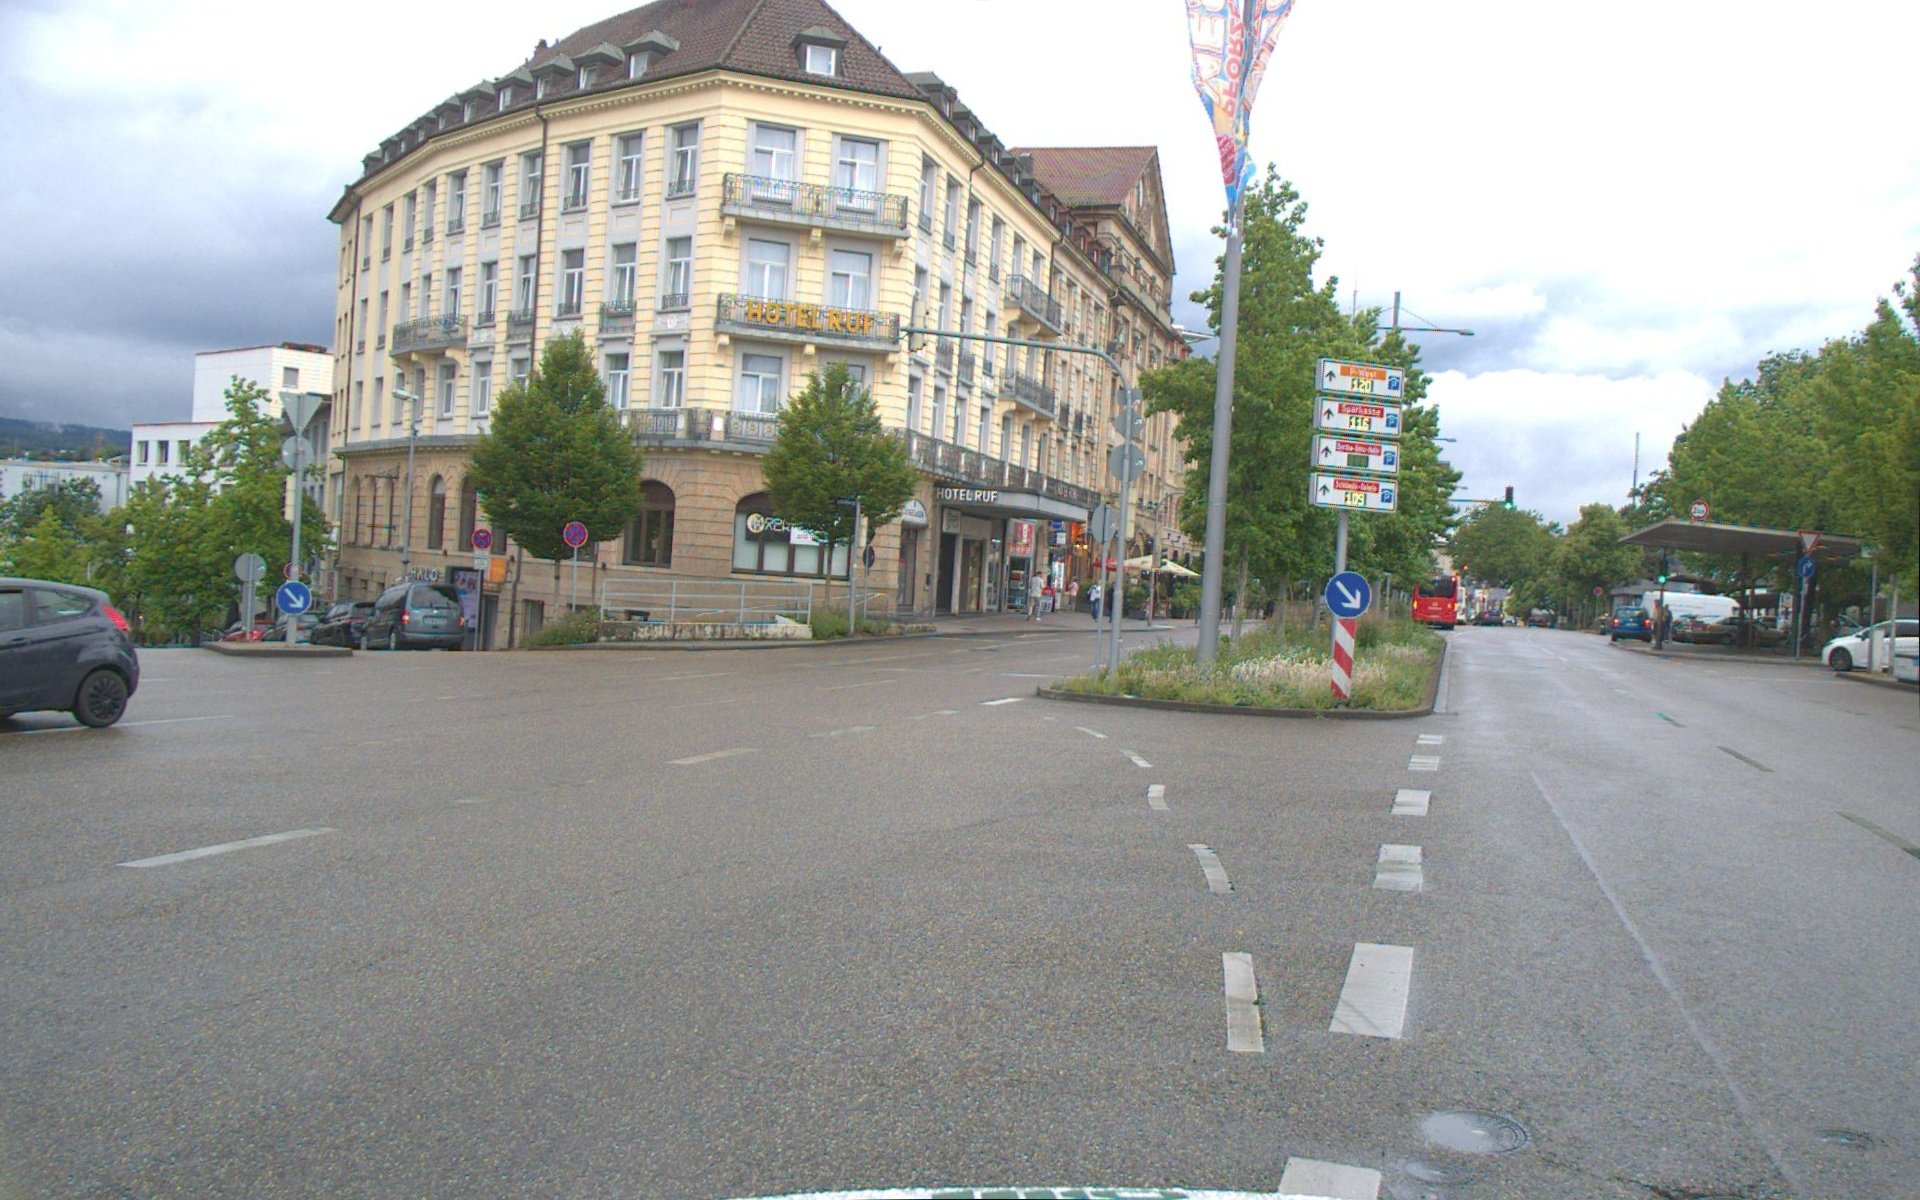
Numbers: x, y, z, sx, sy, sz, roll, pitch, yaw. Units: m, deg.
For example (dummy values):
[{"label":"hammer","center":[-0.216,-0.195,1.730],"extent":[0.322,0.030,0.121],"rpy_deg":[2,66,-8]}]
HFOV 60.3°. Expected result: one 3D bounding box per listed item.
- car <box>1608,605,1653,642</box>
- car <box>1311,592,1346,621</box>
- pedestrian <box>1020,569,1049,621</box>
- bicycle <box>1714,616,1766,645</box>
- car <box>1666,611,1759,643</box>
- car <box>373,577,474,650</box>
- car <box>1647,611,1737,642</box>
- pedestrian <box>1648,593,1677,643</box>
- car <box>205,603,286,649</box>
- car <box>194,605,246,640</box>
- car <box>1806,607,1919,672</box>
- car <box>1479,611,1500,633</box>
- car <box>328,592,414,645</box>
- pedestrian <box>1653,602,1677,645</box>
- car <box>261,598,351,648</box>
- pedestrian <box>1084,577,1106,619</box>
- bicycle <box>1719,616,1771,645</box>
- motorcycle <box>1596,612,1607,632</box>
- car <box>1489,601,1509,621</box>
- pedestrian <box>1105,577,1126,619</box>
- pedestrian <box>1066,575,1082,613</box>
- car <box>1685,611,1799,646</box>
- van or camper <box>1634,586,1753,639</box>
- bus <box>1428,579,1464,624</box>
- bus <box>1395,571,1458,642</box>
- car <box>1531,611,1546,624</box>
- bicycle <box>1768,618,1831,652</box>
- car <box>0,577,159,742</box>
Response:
[{"label":"car","center":[31.148,1.105,76.897],"extent":[1.820,1.596,4.000],"rpy_deg":[2,0,21]},{"label":"car","center":[27.048,0.509,121.167],"extent":[1.952,2.049,5.002],"rpy_deg":[1,0,19]},{"label":"pedestrian","center":[2.704,-0.184,60.162],"extent":[0.861,1.844,0.751],"rpy_deg":[1,0,17]},{"label":"bicycle","center":[29.804,1.165,63.188],"extent":[1.790,1.074,0.420],"rpy_deg":[1,0,-1]},{"label":"car","center":[38.295,1.371,84.160],"extent":[3.913,1.468,1.861],"rpy_deg":[2,0,-9]},{"label":"car","center":[-14.266,0.338,43.846],"extent":[1.614,1.790,3.957],"rpy_deg":[1,1,-32]},{"label":"car","center":[38.255,1.376,86.482],"extent":[3.913,1.468,1.861],"rpy_deg":[2,0,-9]},{"label":"pedestrian","center":[25.299,0.651,59.595],"extent":[0.730,1.777,0.837],"rpy_deg":[2,-1,9]},{"label":"car","center":[-25.061,0.903,57.943],"extent":[1.751,1.504,3.958],"rpy_deg":[1,0,-37]},{"label":"car","center":[-34.142,1.014,76.276],"extent":[1.746,1.504,3.958],"rpy_deg":[1,0,-31]},{"label":"car","center":[24.690,1.045,43.092],"extent":[1.733,1.572,4.746],"rpy_deg":[2,0,-22]},{"label":"car","center":[51.967,2.143,162.408],"extent":[1.952,2.049,4.002],"rpy_deg":[1,0,17]},{"label":"car","center":[-17.589,0.532,49.313],"extent":[1.614,1.422,3.957],"rpy_deg":[1,1,-32]},{"label":"pedestrian","center":[31.807,1.060,74.643],"extent":[0.838,1.867,1.190],"rpy_deg":[2,-1,17]},{"label":"car","center":[-21.097,0.719,53.278],"extent":[1.751,1.504,3.948],"rpy_deg":[1,0,-37]},{"label":"pedestrian","center":[5.457,-0.080,66.707],"extent":[0.667,1.693,0.807],"rpy_deg":[1,0,20]},{"label":"bicycle","center":[29.763,1.164,62.727],"extent":[1.790,1.074,0.420],"rpy_deg":[1,0,-1]},{"label":"motorcycle","center":[42.381,1.426,109.259],"extent":[0.583,1.310,1.953],"rpy_deg":[1,0,23]},{"label":"car","center":[57.618,1.204,176.778],"extent":[1.952,2.049,4.002],"rpy_deg":[1,0,17]},{"label":"pedestrian","center":[6.261,-0.072,66.454],"extent":[0.667,1.693,0.807],"rpy_deg":[1,0,18]},{"label":"pedestrian","center":[5.095,-0.260,73.936],"extent":[0.652,1.693,0.537],"rpy_deg":[1,0,9]},{"label":"car","center":[34.298,1.258,72.610],"extent":[4.101,1.348,1.839],"rpy_deg":[2,0,-2]},{"label":"van or camper","center":[40.784,0.707,92.039],"extent":[5.837,2.811,2.194],"rpy_deg":[1,0,-10]},{"label":"bus","center":[42.592,0.201,145.160],"extent":[2.746,3.812,10.452],"rpy_deg":[-1,-1,15]},{"label":"bus","center":[28.581,0.419,101.218],"extent":[3.470,4.049,11.178],"rpy_deg":[1,0,16]},{"label":"car","center":[73.288,2.264,209.547],"extent":[1.561,1.588,3.652],"rpy_deg":[1,0,17]},{"label":"bicycle","center":[27.637,1.147,54.455],"extent":[1.789,1.074,0.420],"rpy_deg":[1,0,17]},{"label":"car","center":[-9.735,0.540,15.580],"extent":[1.642,1.539,3.864],"rpy_deg":[1,0,20]}]
